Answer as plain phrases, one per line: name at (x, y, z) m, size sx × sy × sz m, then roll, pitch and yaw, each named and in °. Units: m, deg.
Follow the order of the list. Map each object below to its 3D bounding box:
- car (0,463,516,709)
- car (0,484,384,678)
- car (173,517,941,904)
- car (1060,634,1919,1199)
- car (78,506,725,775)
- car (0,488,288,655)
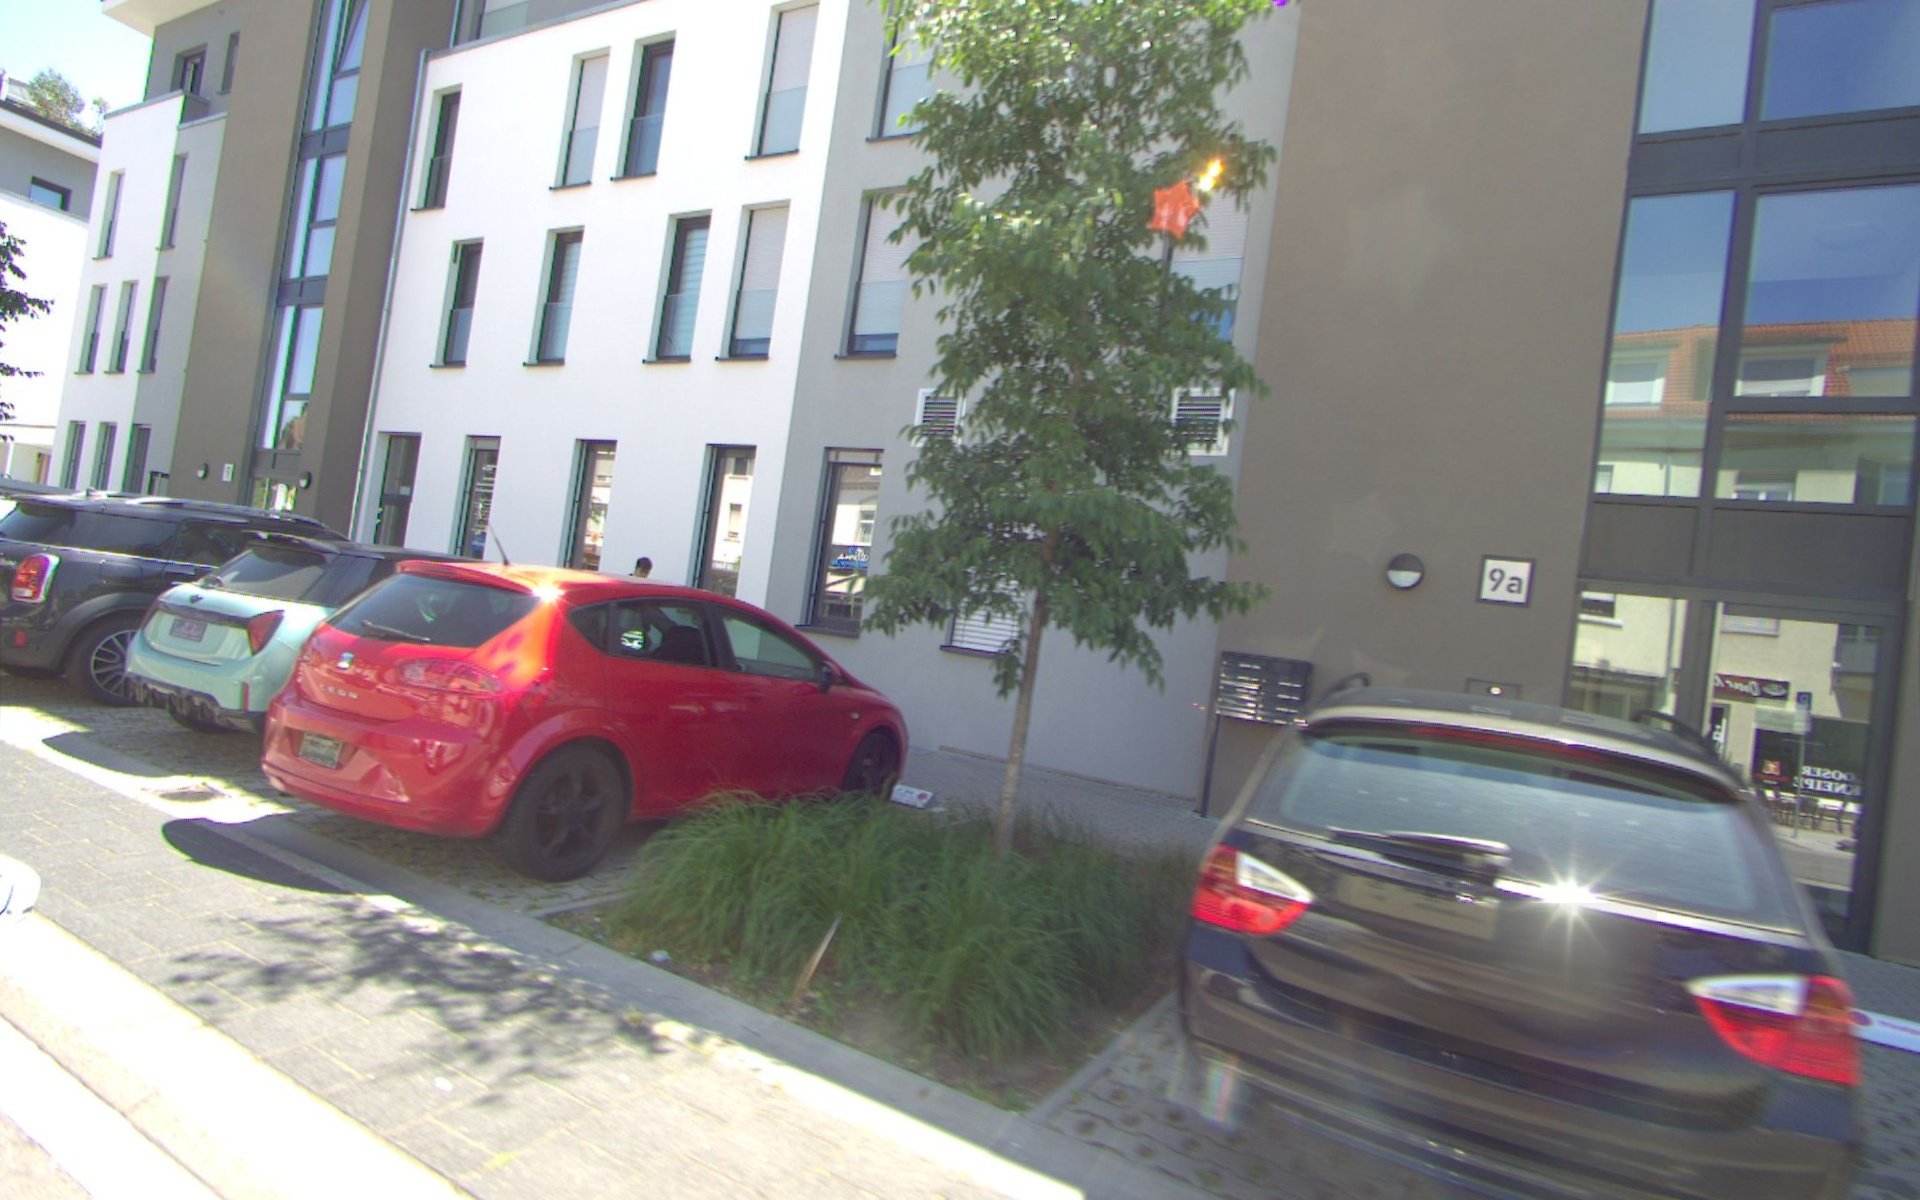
car at (-6.406, 0.003, 8.968) m, size 1.910 × 1.623 × 3.991 m, roll 6°, pitch -3°, yaw 30°
car at (-8.477, -0.174, 10.255) m, size 1.910 × 1.546 × 3.991 m, roll 6°, pitch -3°, yaw 30°
car at (-1.958, 0.559, 6.122) m, size 1.825 × 1.425 × 3.979 m, roll 6°, pitch -2°, yaw 29°
car at (2.137, 1.103, 4.137) m, size 1.895 × 1.432 × 4.271 m, roll 6°, pitch -3°, yaw 27°
car at (-3.935, 0.391, 7.846) m, size 1.733 × 1.448 × 3.991 m, roll 6°, pitch -3°, yaw 30°
car at (-10.179, -0.364, 11.227) m, size 1.711 × 1.546 × 3.991 m, roll 6°, pitch -3°, yaw 30°
